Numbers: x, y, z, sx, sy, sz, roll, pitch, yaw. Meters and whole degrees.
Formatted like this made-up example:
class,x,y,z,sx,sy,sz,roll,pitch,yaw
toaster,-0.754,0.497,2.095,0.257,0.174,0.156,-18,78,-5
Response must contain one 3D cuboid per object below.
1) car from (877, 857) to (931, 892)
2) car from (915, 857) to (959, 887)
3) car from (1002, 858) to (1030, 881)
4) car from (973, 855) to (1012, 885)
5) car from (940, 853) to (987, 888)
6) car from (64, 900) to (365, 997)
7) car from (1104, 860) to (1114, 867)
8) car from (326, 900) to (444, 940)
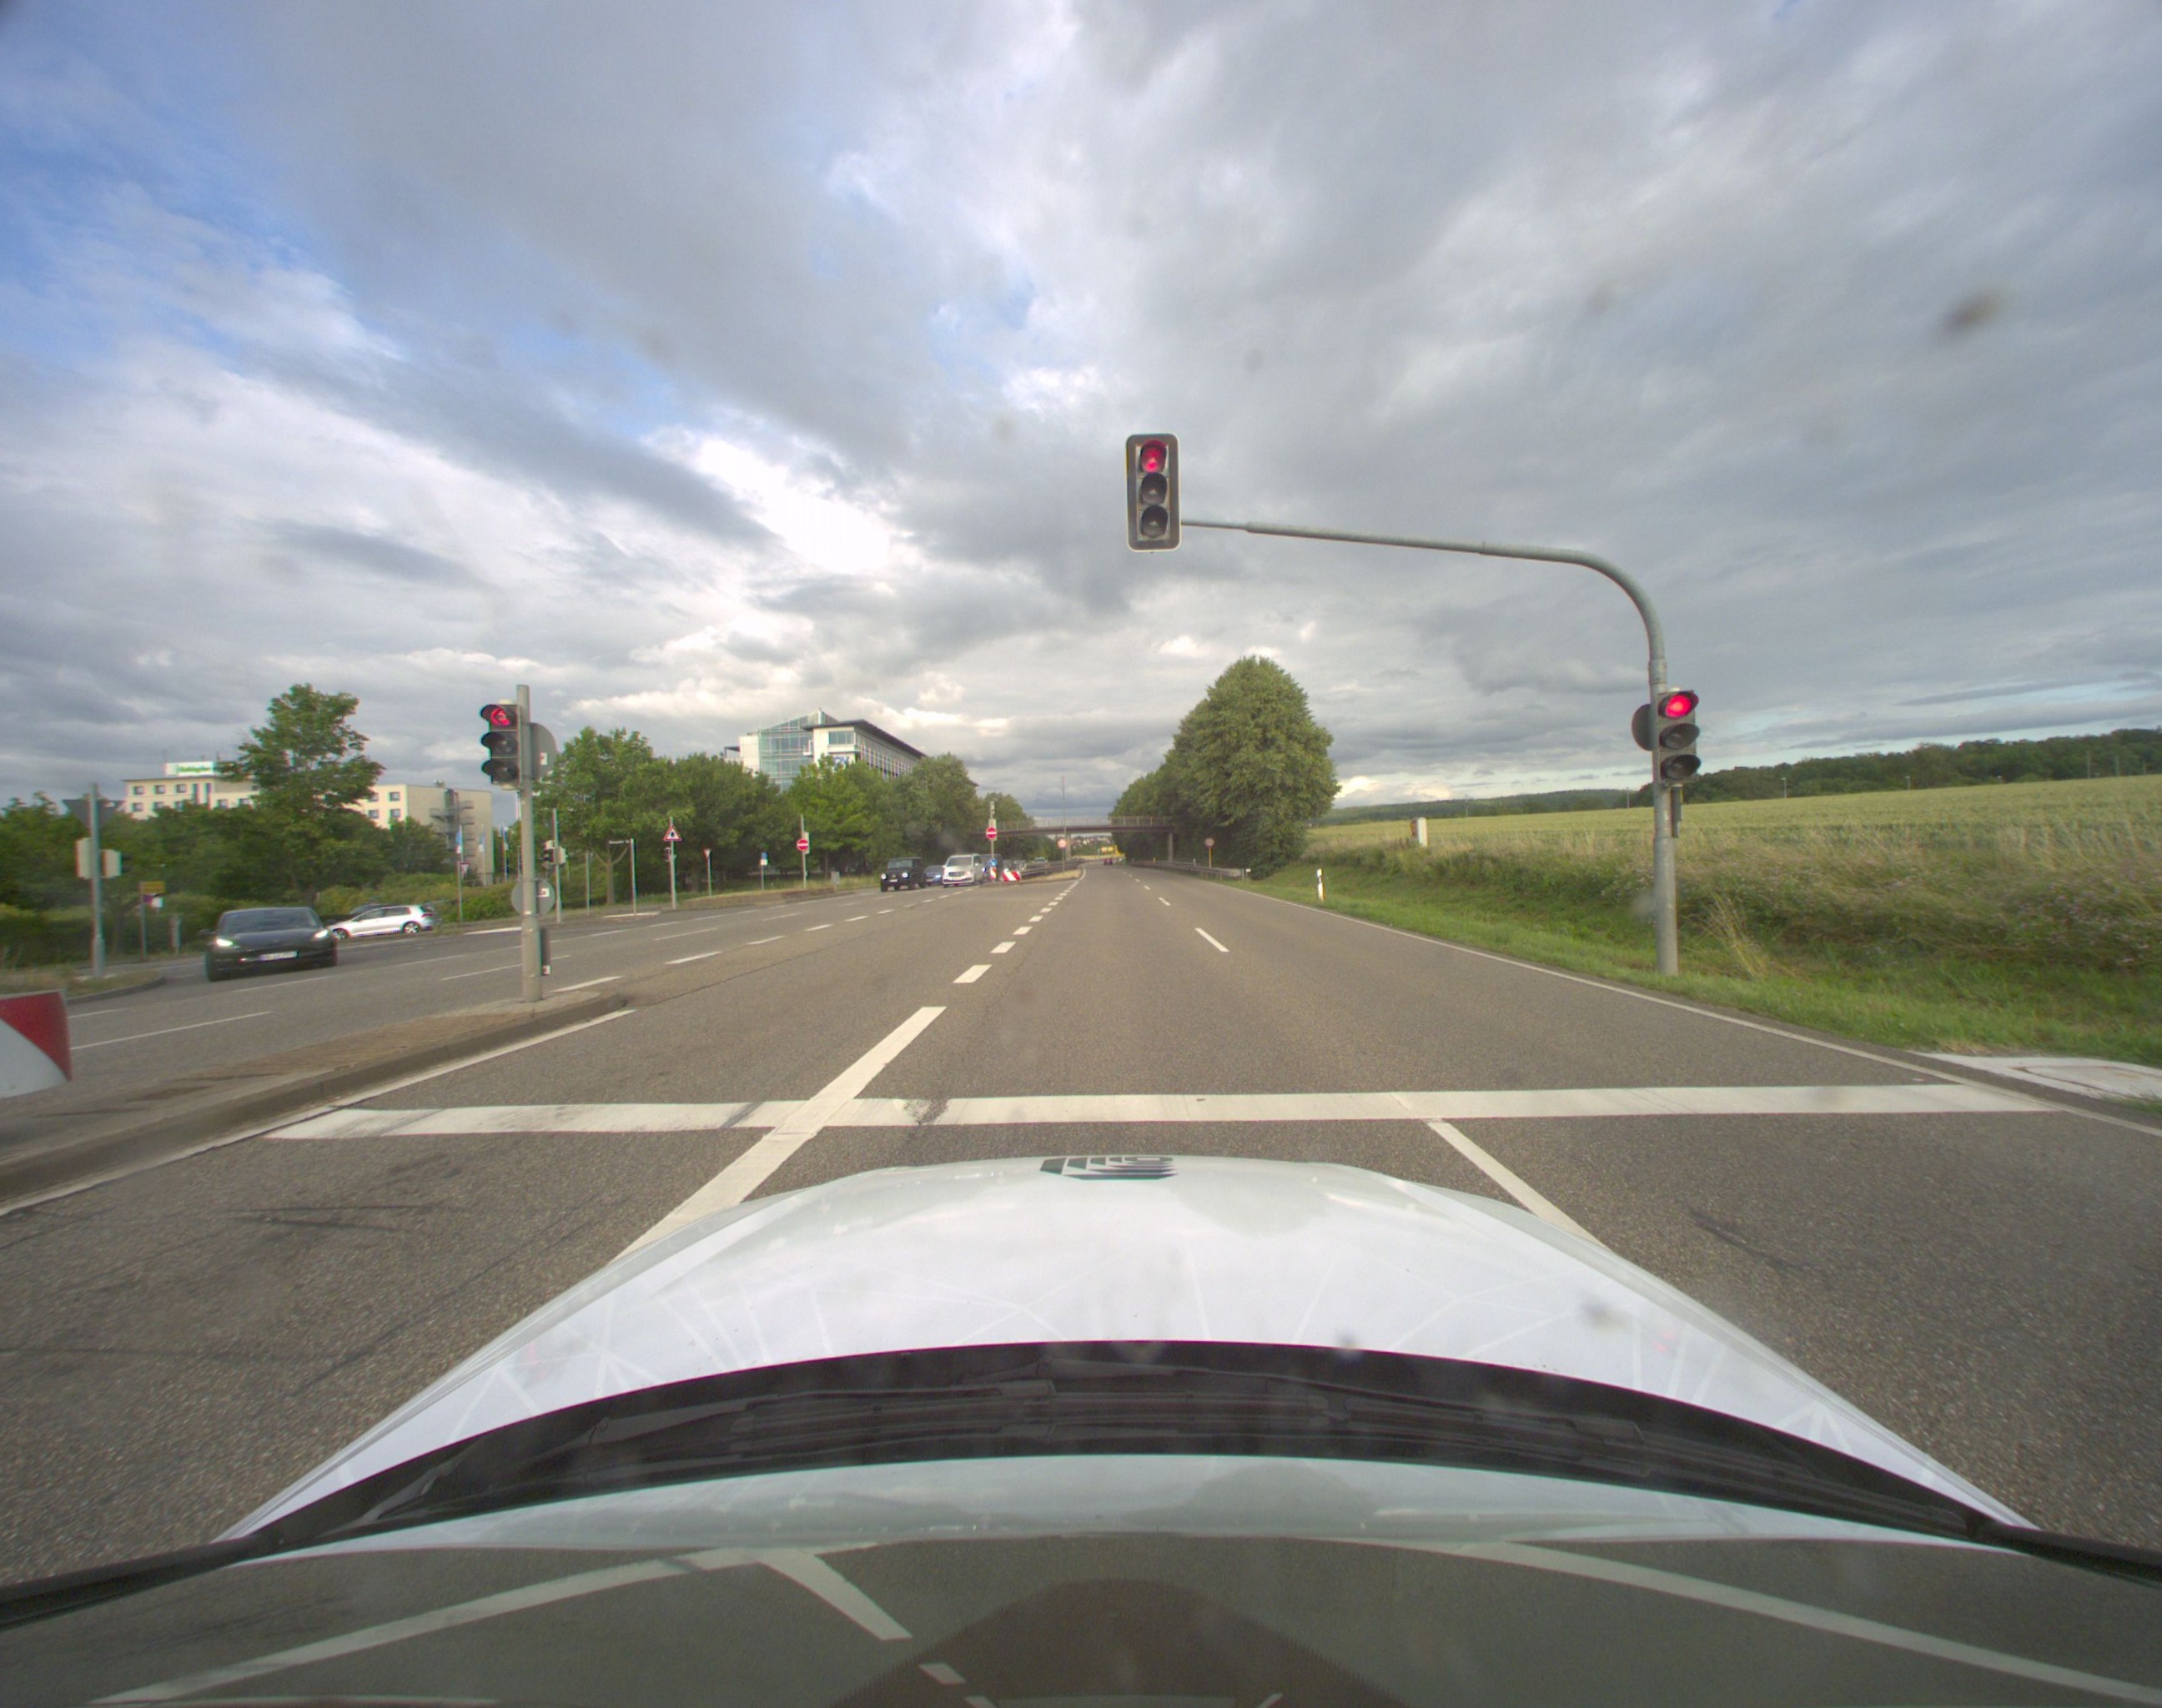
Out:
class,x,y,z,sx,sy,sz,roll,pitch,yaw
car,-10.725,1.189,49.656,2.076,2.014,5.216,0,-1,1
car,-10.028,1.252,57.145,2.076,2.014,5.216,0,-1,1
car,-6.001,1.403,75.952,2.076,2.014,5.216,0,-1,1
car,-6.187,1.073,57.401,2.076,2.014,5.216,0,-1,1
car,-7.105,0.965,49.682,2.076,2.014,5.216,0,-1,1
car,-18.062,1.935,17.115,4.340,1.457,1.924,-5,-1,4
car,5.979,2.051,174.244,1.874,1.552,3.999,0,-1,0
car,-32.126,3.011,37.724,3.758,1.342,1.573,-5,0,-26
